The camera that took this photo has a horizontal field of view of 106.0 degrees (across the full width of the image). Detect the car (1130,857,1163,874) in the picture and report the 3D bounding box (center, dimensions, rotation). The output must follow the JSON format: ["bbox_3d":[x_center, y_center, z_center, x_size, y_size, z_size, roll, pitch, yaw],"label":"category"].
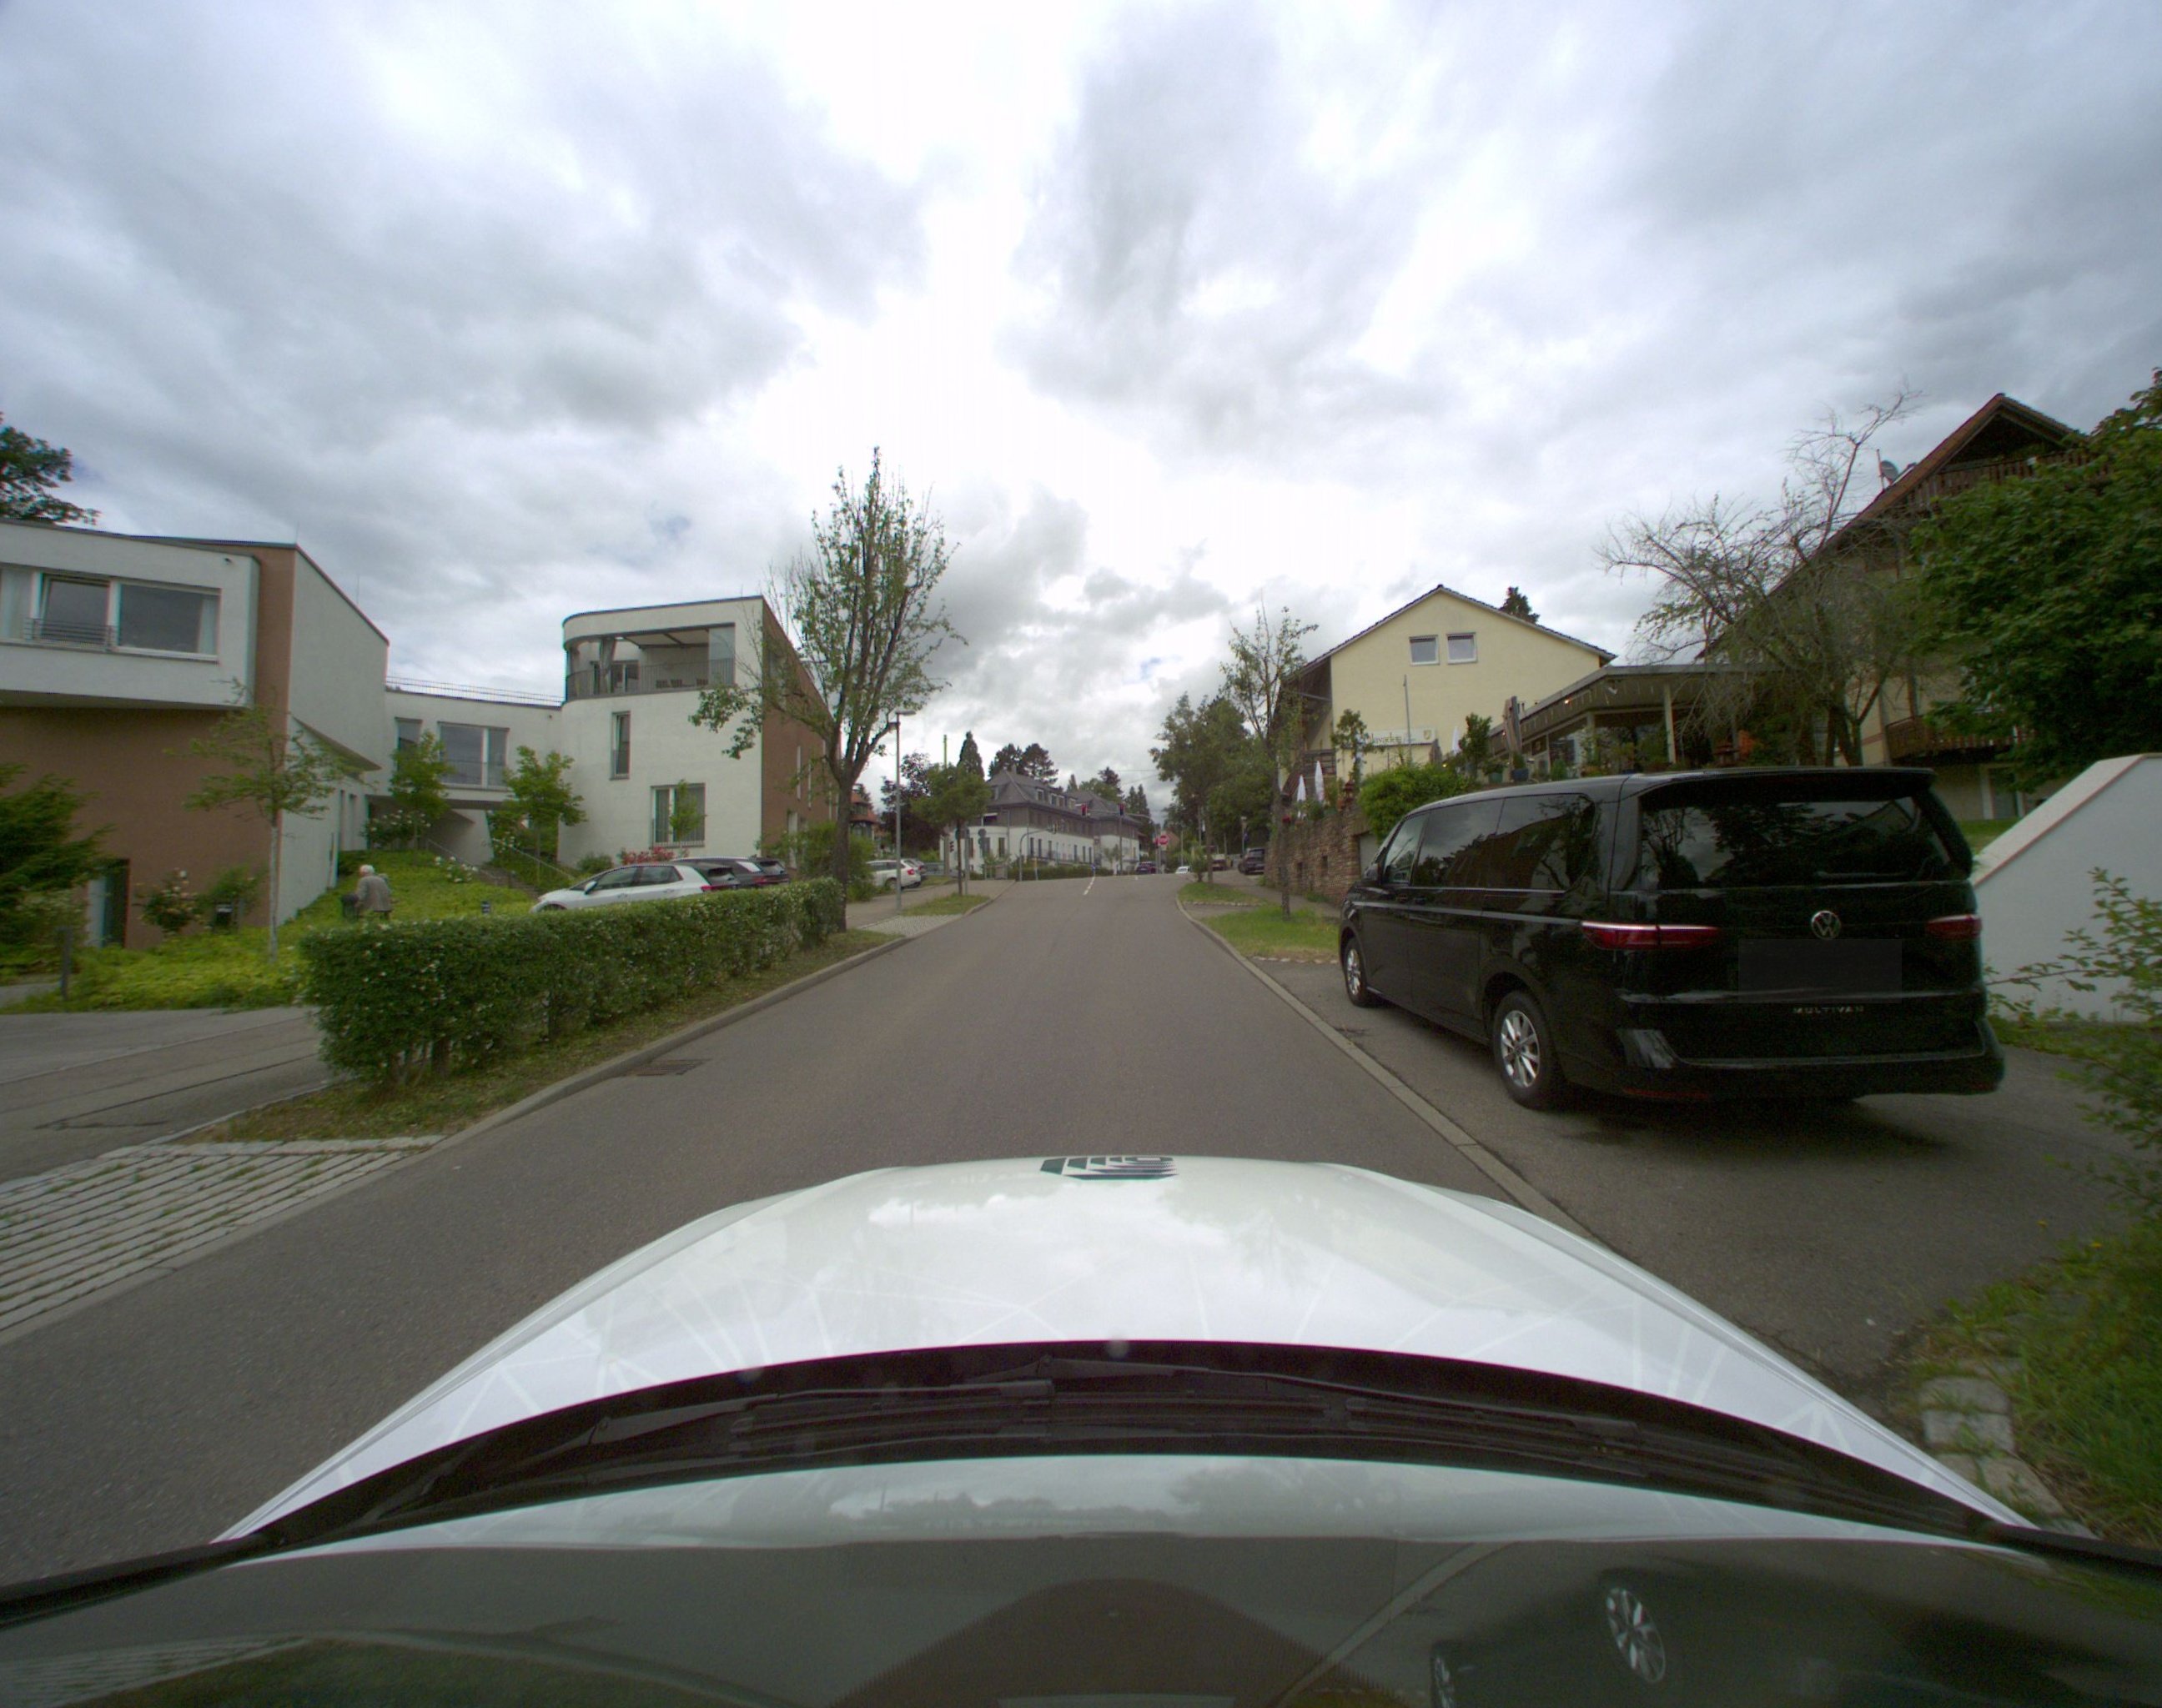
[{"bbox_3d":[6.511,1.148,80.085,2.137,1.491,4.734,-2,0,18],"label":"car"}]

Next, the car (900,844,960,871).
[{"bbox_3d":[-12.206,0.252,65.659,4.507,2.013,1.988,-2,0,-18],"label":"car"}]

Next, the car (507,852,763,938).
[{"bbox_3d":[-9.588,0.843,17.820,4.372,1.566,2.066,-3,0,0],"label":"car"}]

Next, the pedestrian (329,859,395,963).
[{"bbox_3d":[-12.075,0.942,13.690,0.586,1.682,0.520,-2,0,3],"label":"pedestrian"}]

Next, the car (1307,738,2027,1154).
[{"bbox_3d":[3.392,0.418,6.329,1.929,1.838,5.221,-2,0,2],"label":"car"}]

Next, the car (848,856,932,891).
[{"bbox_3d":[-9.481,0.952,40.684,3.753,1.464,1.729,-3,1,-5],"label":"car"}]

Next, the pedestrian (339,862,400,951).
[{"bbox_3d":[-13.654,0.996,15.641,0.591,1.640,0.566,-3,0,2],"label":"pedestrian"}]

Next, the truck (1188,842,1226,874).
[{"bbox_3d":[9.961,0.359,64.912,2.176,2.195,5.881,-2,-3,1],"label":"truck"}]

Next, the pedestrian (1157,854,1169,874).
[{"bbox_3d":[6.825,0.845,67.933,0.701,1.682,0.681,-2,0,-22],"label":"pedestrian"}]

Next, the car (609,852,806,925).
[{"bbox_3d":[-9.270,0.834,20.467,3.971,1.653,2.010,-1,0,2],"label":"car"}]

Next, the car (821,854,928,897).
[{"bbox_3d":[-9.236,0.961,36.661,4.248,1.623,2.012,-3,-1,-2],"label":"car"}]

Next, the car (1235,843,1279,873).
[{"bbox_3d":[9.710,0.203,45.314,1.839,1.472,4.393,-4,-1,6],"label":"car"}]
